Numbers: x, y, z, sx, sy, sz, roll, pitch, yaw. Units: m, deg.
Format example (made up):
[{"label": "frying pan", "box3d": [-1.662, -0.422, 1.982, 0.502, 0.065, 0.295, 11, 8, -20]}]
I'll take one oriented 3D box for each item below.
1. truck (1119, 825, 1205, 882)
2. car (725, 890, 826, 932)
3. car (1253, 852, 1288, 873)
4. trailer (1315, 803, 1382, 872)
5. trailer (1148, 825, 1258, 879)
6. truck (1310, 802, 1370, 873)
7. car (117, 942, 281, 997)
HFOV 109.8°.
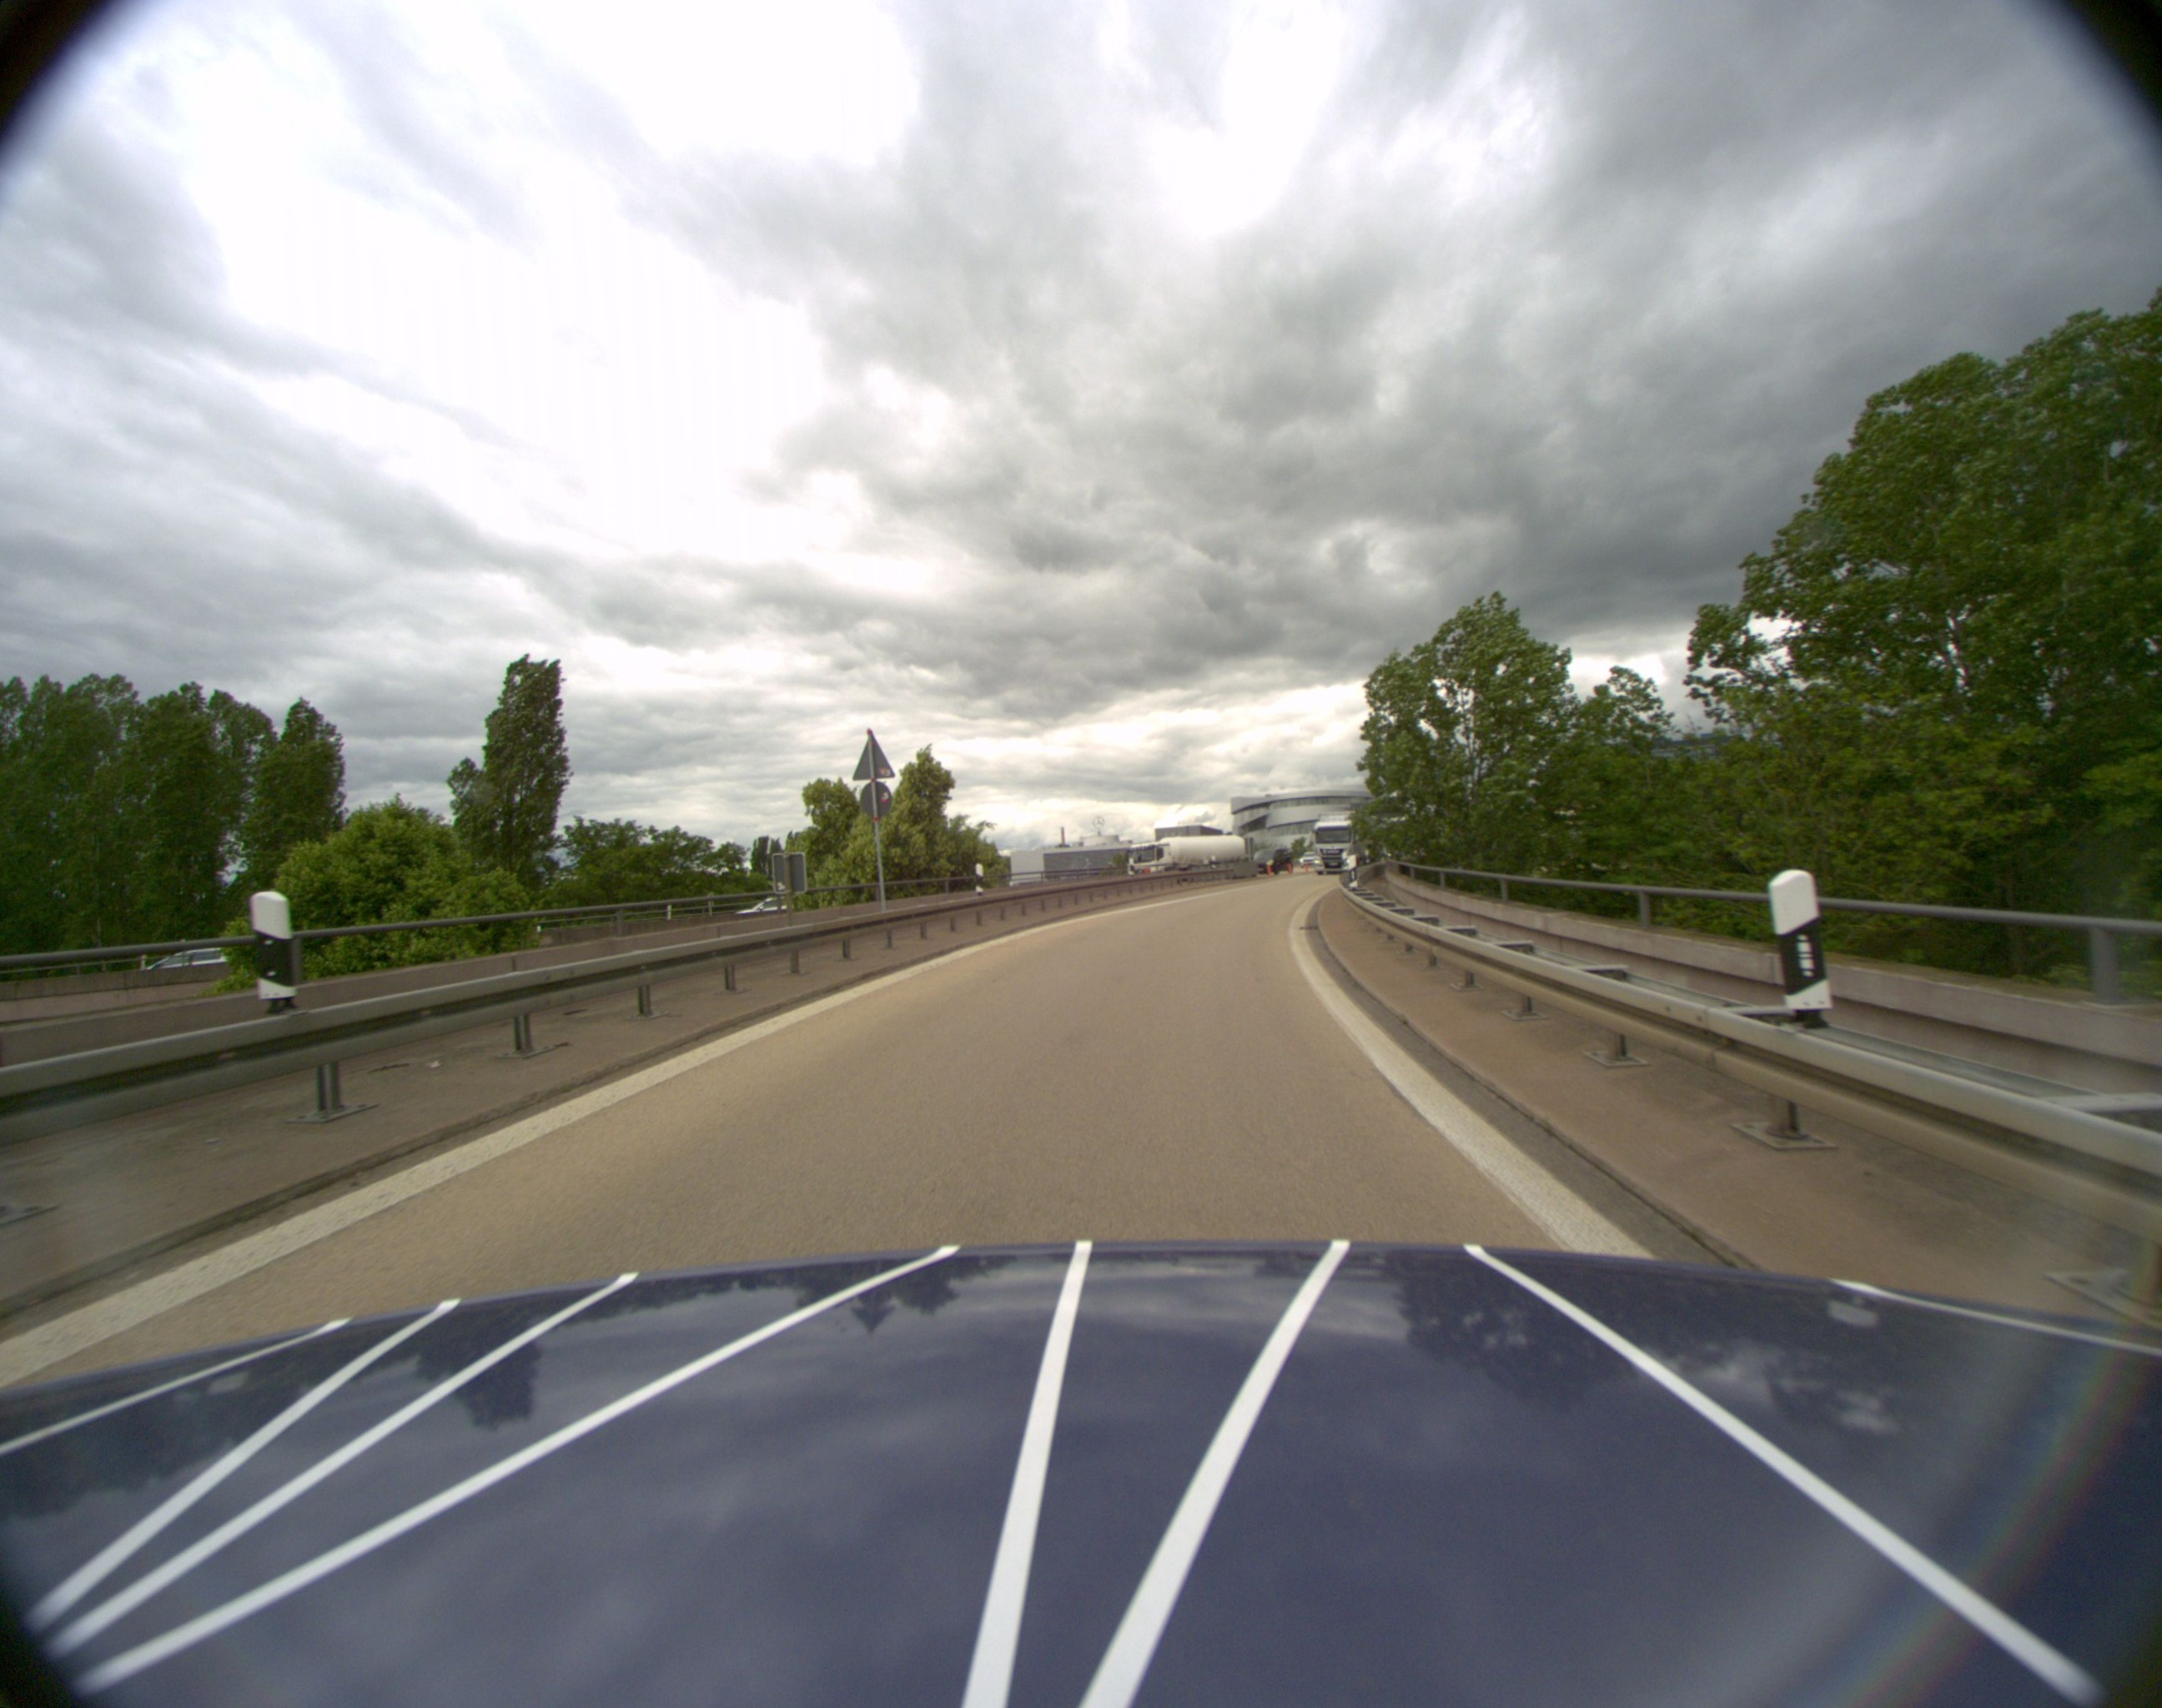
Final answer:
[{"label": "truck", "box3d": [5.649, -0.073, 51.975, 2.729, 3.624, 6.213, -2, 0, 39]}, {"label": "car", "box3d": [-13.472, 2.523, 33.662, 3.938, 1.400, 1.788, -5, -2, -22]}, {"label": "car", "box3d": [14.321, 0.612, 57.222, 1.786, 1.401, 3.807, -2, 0, 26]}, {"label": "trailer", "box3d": [19.264, -1.153, 54.004, 2.742, 4.212, 13.469, -2, 0, 26]}, {"label": "trailer", "box3d": [9.304, -0.259, 56.422, 2.742, 3.628, 11.026, -2, 0, 39]}, {"label": "truck", "box3d": [16.891, -1.053, 49.296, 2.730, 4.203, 6.211, -2, 0, 27]}, {"label": "car", "box3d": [-32.822, 4.276, 28.364, 3.997, 1.471, 1.738, -5, -2, -1]}]
